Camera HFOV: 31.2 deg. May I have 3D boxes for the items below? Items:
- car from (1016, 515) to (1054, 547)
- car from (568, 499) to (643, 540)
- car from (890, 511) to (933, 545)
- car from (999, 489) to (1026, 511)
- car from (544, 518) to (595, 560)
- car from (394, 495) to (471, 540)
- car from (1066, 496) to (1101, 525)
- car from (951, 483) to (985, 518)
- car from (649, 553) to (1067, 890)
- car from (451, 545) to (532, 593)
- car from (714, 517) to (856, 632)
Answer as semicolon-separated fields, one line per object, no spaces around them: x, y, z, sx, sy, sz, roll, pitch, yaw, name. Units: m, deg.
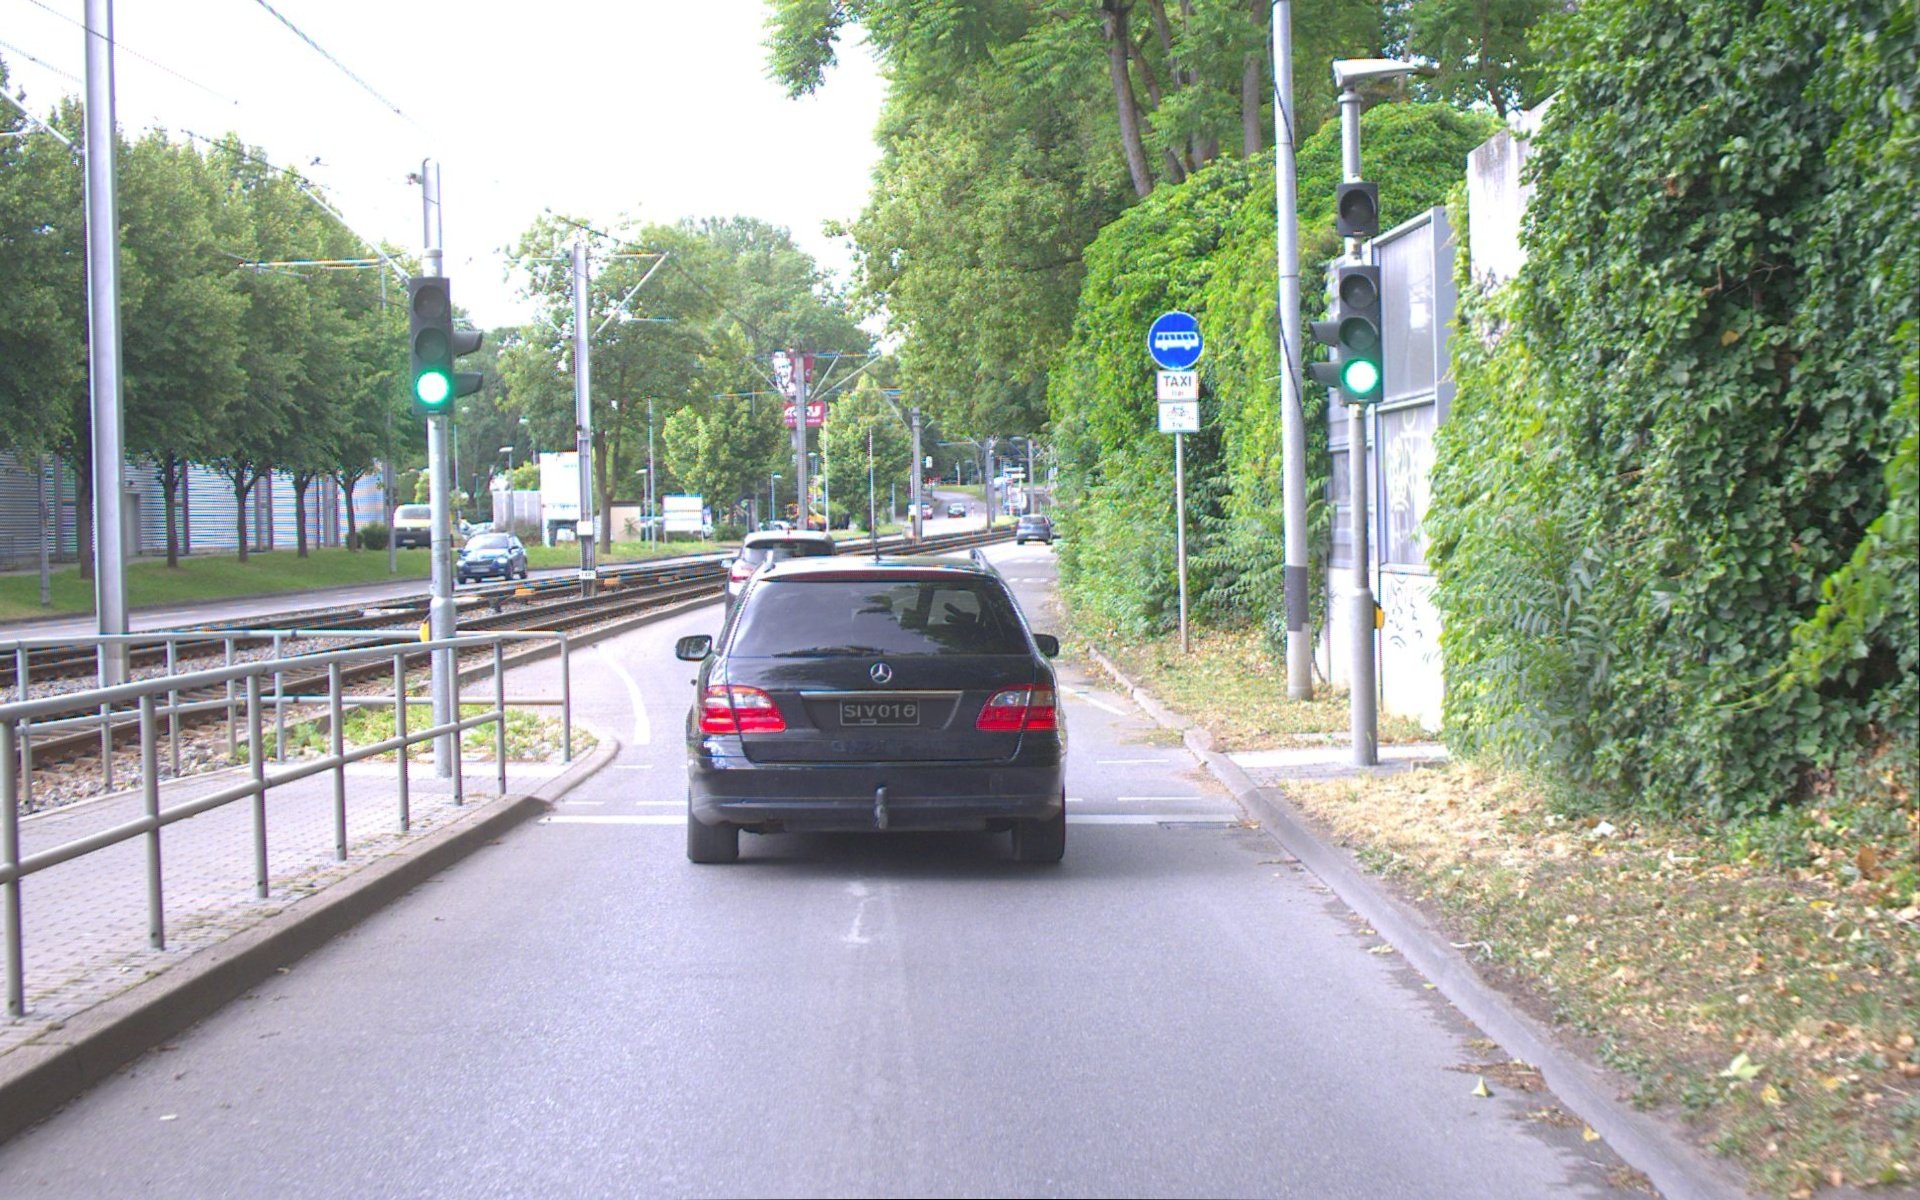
3.719;-3.401;169.634;1.825;1.524;4.416;-1;1;2;car
-19.811;-4.505;192.288;3.986;2.116;2.000;-3;1;-4;car
-2.259;-3.384;161.111;1.825;1.524;3.986;0;2;2;car
3.749;-7.086;243.495;1.825;1.524;4.179;0;2;2;car
-19.539;-3.067;172.254;1.993;2.006;4.000;-3;1;0;car
-21.660;-3.406;141.268;1.994;1.737;4.987;-2;2;4;car
6.578;-4.770;183.521;1.825;1.524;4.179;0;2;2;car
0.492;-5.965;205.866;1.891;2.006;3.898;-3;1;0;car
-0.418;0.508;17.343;1.833;1.473;4.416;0;1;1;car
-14.490;-0.967;106.546;1.660;1.388;3.718;-1;1;5;car
-2.464;-0.397;49.242;1.825;1.524;4.416;0;2;0;car
